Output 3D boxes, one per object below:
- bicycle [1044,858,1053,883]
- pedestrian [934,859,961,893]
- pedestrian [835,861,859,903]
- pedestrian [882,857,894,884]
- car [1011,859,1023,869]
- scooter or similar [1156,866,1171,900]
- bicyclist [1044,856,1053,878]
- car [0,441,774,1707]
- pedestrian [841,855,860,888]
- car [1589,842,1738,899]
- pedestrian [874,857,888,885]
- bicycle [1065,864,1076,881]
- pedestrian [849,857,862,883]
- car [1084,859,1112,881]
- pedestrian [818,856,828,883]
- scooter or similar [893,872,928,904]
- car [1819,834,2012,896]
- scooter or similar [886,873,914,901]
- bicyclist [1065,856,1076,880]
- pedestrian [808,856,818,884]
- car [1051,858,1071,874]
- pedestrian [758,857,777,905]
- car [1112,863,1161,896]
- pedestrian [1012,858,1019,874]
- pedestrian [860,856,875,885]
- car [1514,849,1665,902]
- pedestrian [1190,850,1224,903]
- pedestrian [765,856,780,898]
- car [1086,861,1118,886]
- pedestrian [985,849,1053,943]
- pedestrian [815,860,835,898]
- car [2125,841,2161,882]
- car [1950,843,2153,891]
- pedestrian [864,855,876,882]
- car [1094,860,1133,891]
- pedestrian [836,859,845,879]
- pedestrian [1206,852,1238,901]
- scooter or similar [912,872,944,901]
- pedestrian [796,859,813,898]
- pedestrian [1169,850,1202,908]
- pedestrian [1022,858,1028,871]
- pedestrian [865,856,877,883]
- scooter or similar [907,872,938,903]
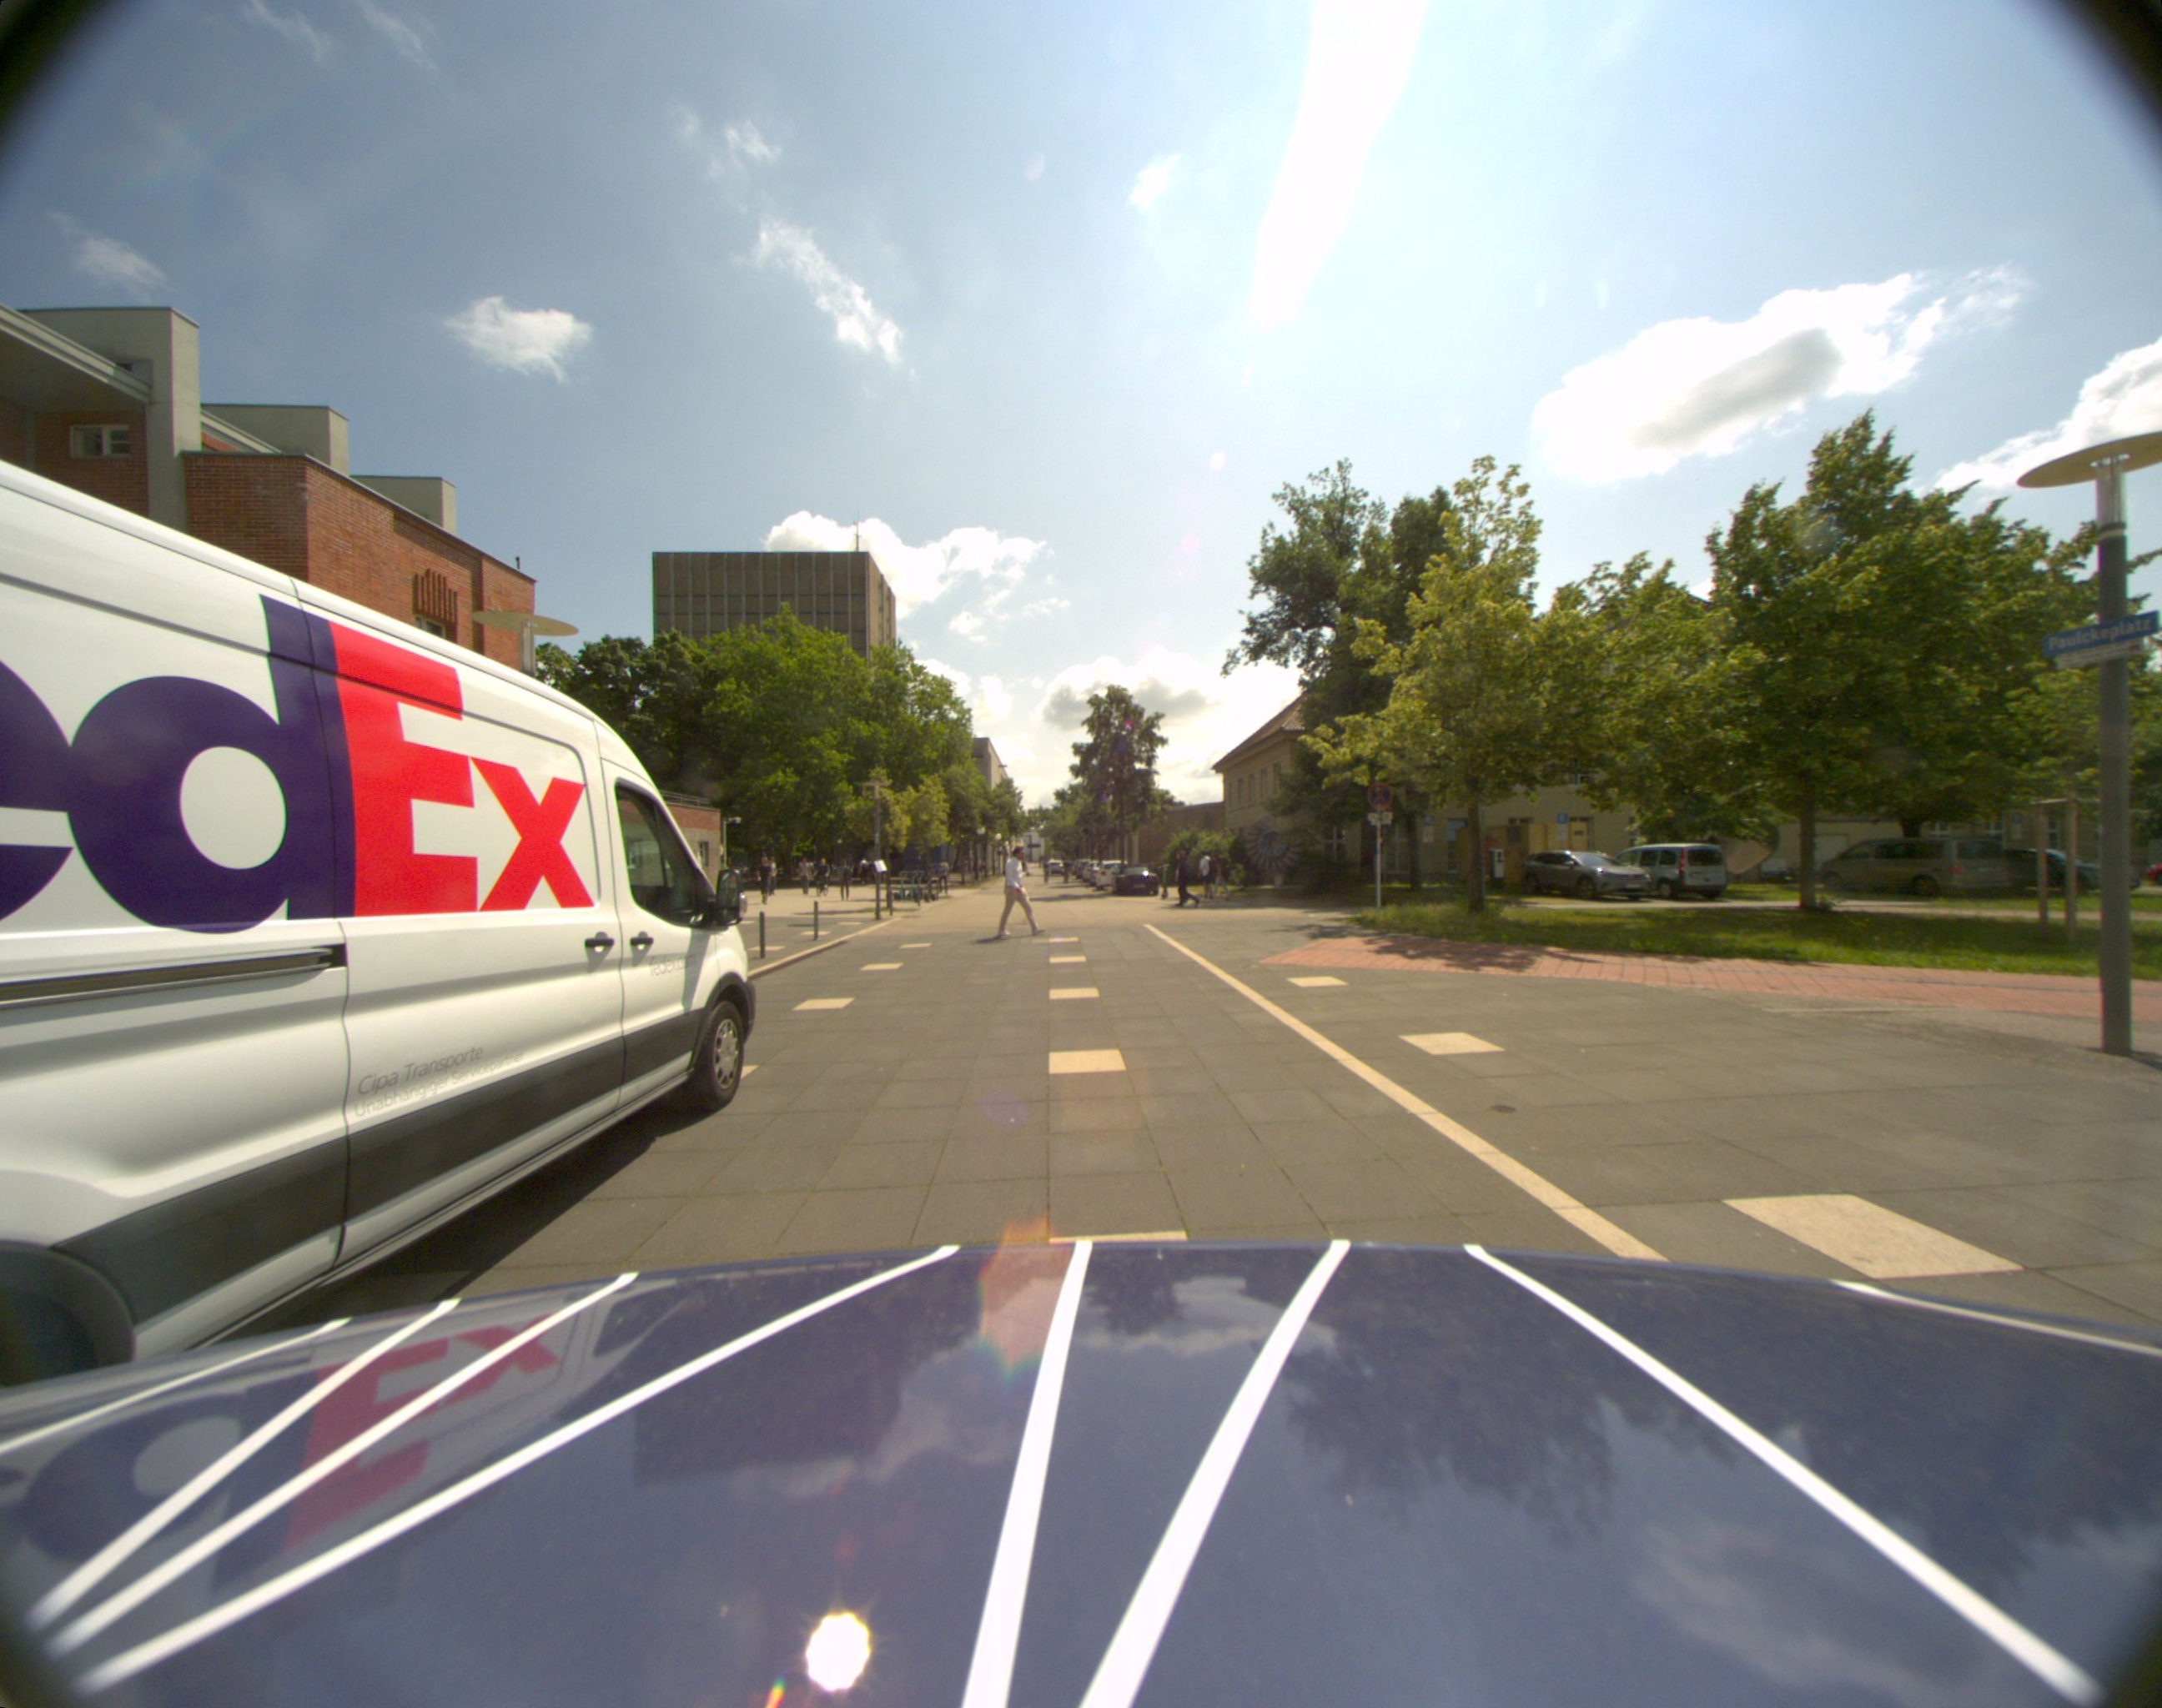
[{"bbox_3d":[-2.186,1.078,51.218,0.588,1.670,1.758,-1,0,-3],"label":"bicycle"},{"bbox_3d":[-7.111,1.139,40.409,0.985,1.776,1.092,0,0,-37],"label":"pedestrian"},{"bbox_3d":[-9.733,1.154,31.595,0.785,1.666,1.078,0,1,-9],"label":"pedestrian"},{"bbox_3d":[-12.531,1.072,49.391,0.623,1.729,0.773,0,0,-25],"label":"pedestrian"},{"bbox_3d":[-10.603,1.640,126.103,1.999,1.647,3.998,-1,0,-4],"label":"car"},{"bbox_3d":[3.064,1.067,28.199,0.470,1.209,1.205,-1,0,3],"label":"scooter or similar"},{"bbox_3d":[-2.188,0.866,51.225,0.588,1.444,1.233,-1,0,-2],"label":"bicyclist"},{"bbox_3d":[-3.142,0.506,2.697,2.065,2.528,5.847,-1,0,-4],"label":"car"},{"bbox_3d":[-14.091,1.065,46.413,0.984,1.934,0.976,0,0,-25],"label":"pedestrian"},{"bbox_3d":[19.834,0.475,26.141,1.812,1.775,4.122,-1,1,-3],"label":"car"},{"bbox_3d":[-12.401,1.043,47.095,0.752,1.663,0.844,0,0,-25],"label":"pedestrian"},{"bbox_3d":[-0.718,1.242,51.256,0.626,1.134,1.812,-1,0,-4],"label":"bicycle"},{"bbox_3d":[-15.075,1.078,50.818,0.640,1.697,0.713,0,0,-30],"label":"pedestrian"},{"bbox_3d":[1.160,1.103,52.487,1.718,1.424,3.999,-1,0,-1],"label":"car"},{"bbox_3d":[-16.866,1.017,49.671,0.542,1.783,0.643,0,0,-27],"label":"pedestrian"},{"bbox_3d":[-6.793,1.337,30.328,1.353,1.223,0.577,-1,0,32],"label":"scooter or similar"},{"bbox_3d":[28.939,0.315,26.621,1.811,1.948,4.527,-1,1,1],"label":"car"},{"bbox_3d":[-7.730,1.396,32.511,0.575,1.172,1.479,0,-1,11],"label":"scooter or similar"},{"bbox_3d":[-0.736,0.911,51.375,0.630,1.596,1.328,-1,0,-4],"label":"bicyclist"},{"bbox_3d":[-17.412,1.022,49.348,0.567,1.783,0.643,0,0,-26],"label":"pedestrian"},{"bbox_3d":[-2.058,1.219,78.140,1.933,1.624,4.372,-1,0,-1],"label":"car"},{"bbox_3d":[-11.889,1.006,28.807,0.587,1.767,0.797,-1,1,-27],"label":"pedestrian"},{"bbox_3d":[2.272,1.028,32.017,1.701,1.287,3.762,-1,0,-1],"label":"car"},{"bbox_3d":[-5.841,1.052,67.923,0.585,1.433,0.638,0,0,-1],"label":"pedestrian"},{"bbox_3d":[-13.111,1.011,46.656,0.783,1.780,0.713,0,0,-25],"label":"pedestrian"},{"bbox_3d":[17.287,0.658,26.155,1.899,1.572,4.648,-1,1,-3],"label":"car"},{"bbox_3d":[4.314,0.759,25.943,0.898,1.776,0.728,-1,1,33],"label":"pedestrian"},{"bbox_3d":[-14.512,1.102,35.739,0.566,1.917,0.889,-2,-2,-24],"label":"pedestrian"},{"bbox_3d":[1.178,1.104,44.330,1.648,1.368,3.999,-1,0,-1],"label":"car"},{"bbox_3d":[-1.262,0.828,15.498,1.022,1.837,0.918,1,0,28],"label":"pedestrian"},{"bbox_3d":[-12.133,1.177,35.981,0.669,1.755,0.798,-2,-1,-3],"label":"pedestrian"},{"bbox_3d":[42.419,0.301,28.140,1.811,1.533,4.124,-1,1,0],"label":"car"},{"bbox_3d":[34.083,0.384,26.892,1.812,1.533,4.122,-1,1,-3],"label":"car"},{"bbox_3d":[-15.018,1.028,54.159,0.536,1.859,0.641,-1,0,42],"label":"pedestrian"},{"bbox_3d":[1.617,1.050,38.485,1.635,1.422,3.632,-1,0,-2],"label":"car"},{"bbox_3d":[-18.850,1.177,59.602,0.640,1.548,0.574,0,0,-17],"label":"pedestrian"},{"bbox_3d":[4.958,0.794,26.772,0.970,1.706,0.559,-1,1,27],"label":"pedestrian"},{"bbox_3d":[-6.403,1.353,31.886,1.261,1.225,0.577,-1,0,32],"label":"scooter or similar"},{"bbox_3d":[-13.758,1.223,37.815,0.670,1.875,0.972,-2,-2,-20],"label":"pedestrian"},{"bbox_3d":[3.261,0.781,23.667,0.870,1.776,0.570,-1,0,27],"label":"pedestrian"},{"bbox_3d":[-7.012,1.297,94.895,0.536,1.672,0.587,0,0,28],"label":"pedestrian"},{"bbox_3d":[-13.506,0.994,48.804,0.603,1.742,0.763,0,0,-24],"label":"pedestrian"},{"bbox_3d":[-6.491,1.356,31.074,1.140,1.236,0.577,-1,0,32],"label":"scooter or similar"}]
